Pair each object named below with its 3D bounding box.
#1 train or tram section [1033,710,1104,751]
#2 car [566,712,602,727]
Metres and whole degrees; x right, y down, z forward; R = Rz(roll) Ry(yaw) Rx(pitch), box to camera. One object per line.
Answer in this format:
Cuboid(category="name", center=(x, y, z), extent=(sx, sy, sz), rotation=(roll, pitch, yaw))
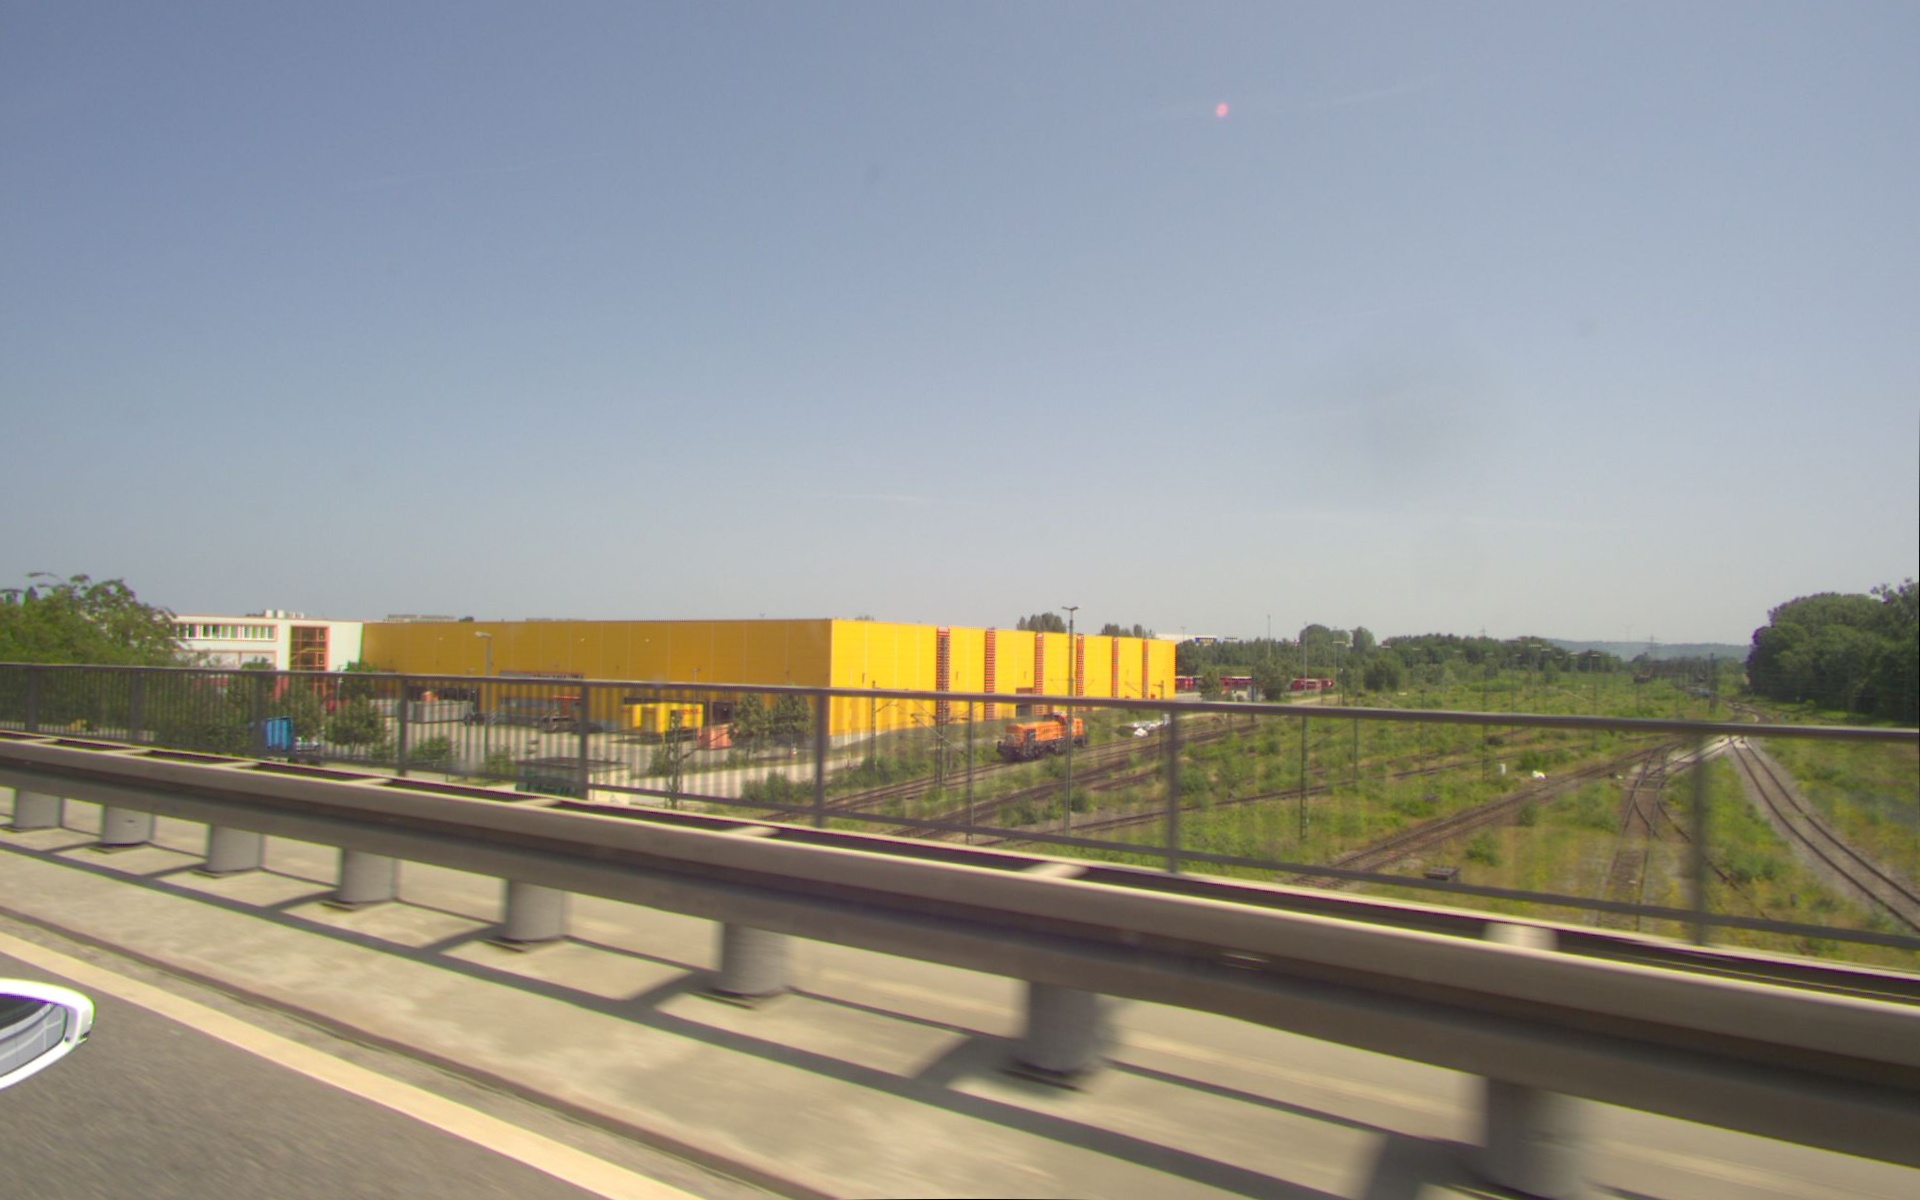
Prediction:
Cuboid(category="train or tram section", center=(11.651, 13.608, 105.740), extent=(2.205, 3.733, 13.964), rotation=(0, -4, 29))
Cuboid(category="car", center=(-46.100, 14.672, 122.830), extent=(1.774, 1.468, 3.827), rotation=(0, -2, 32))
